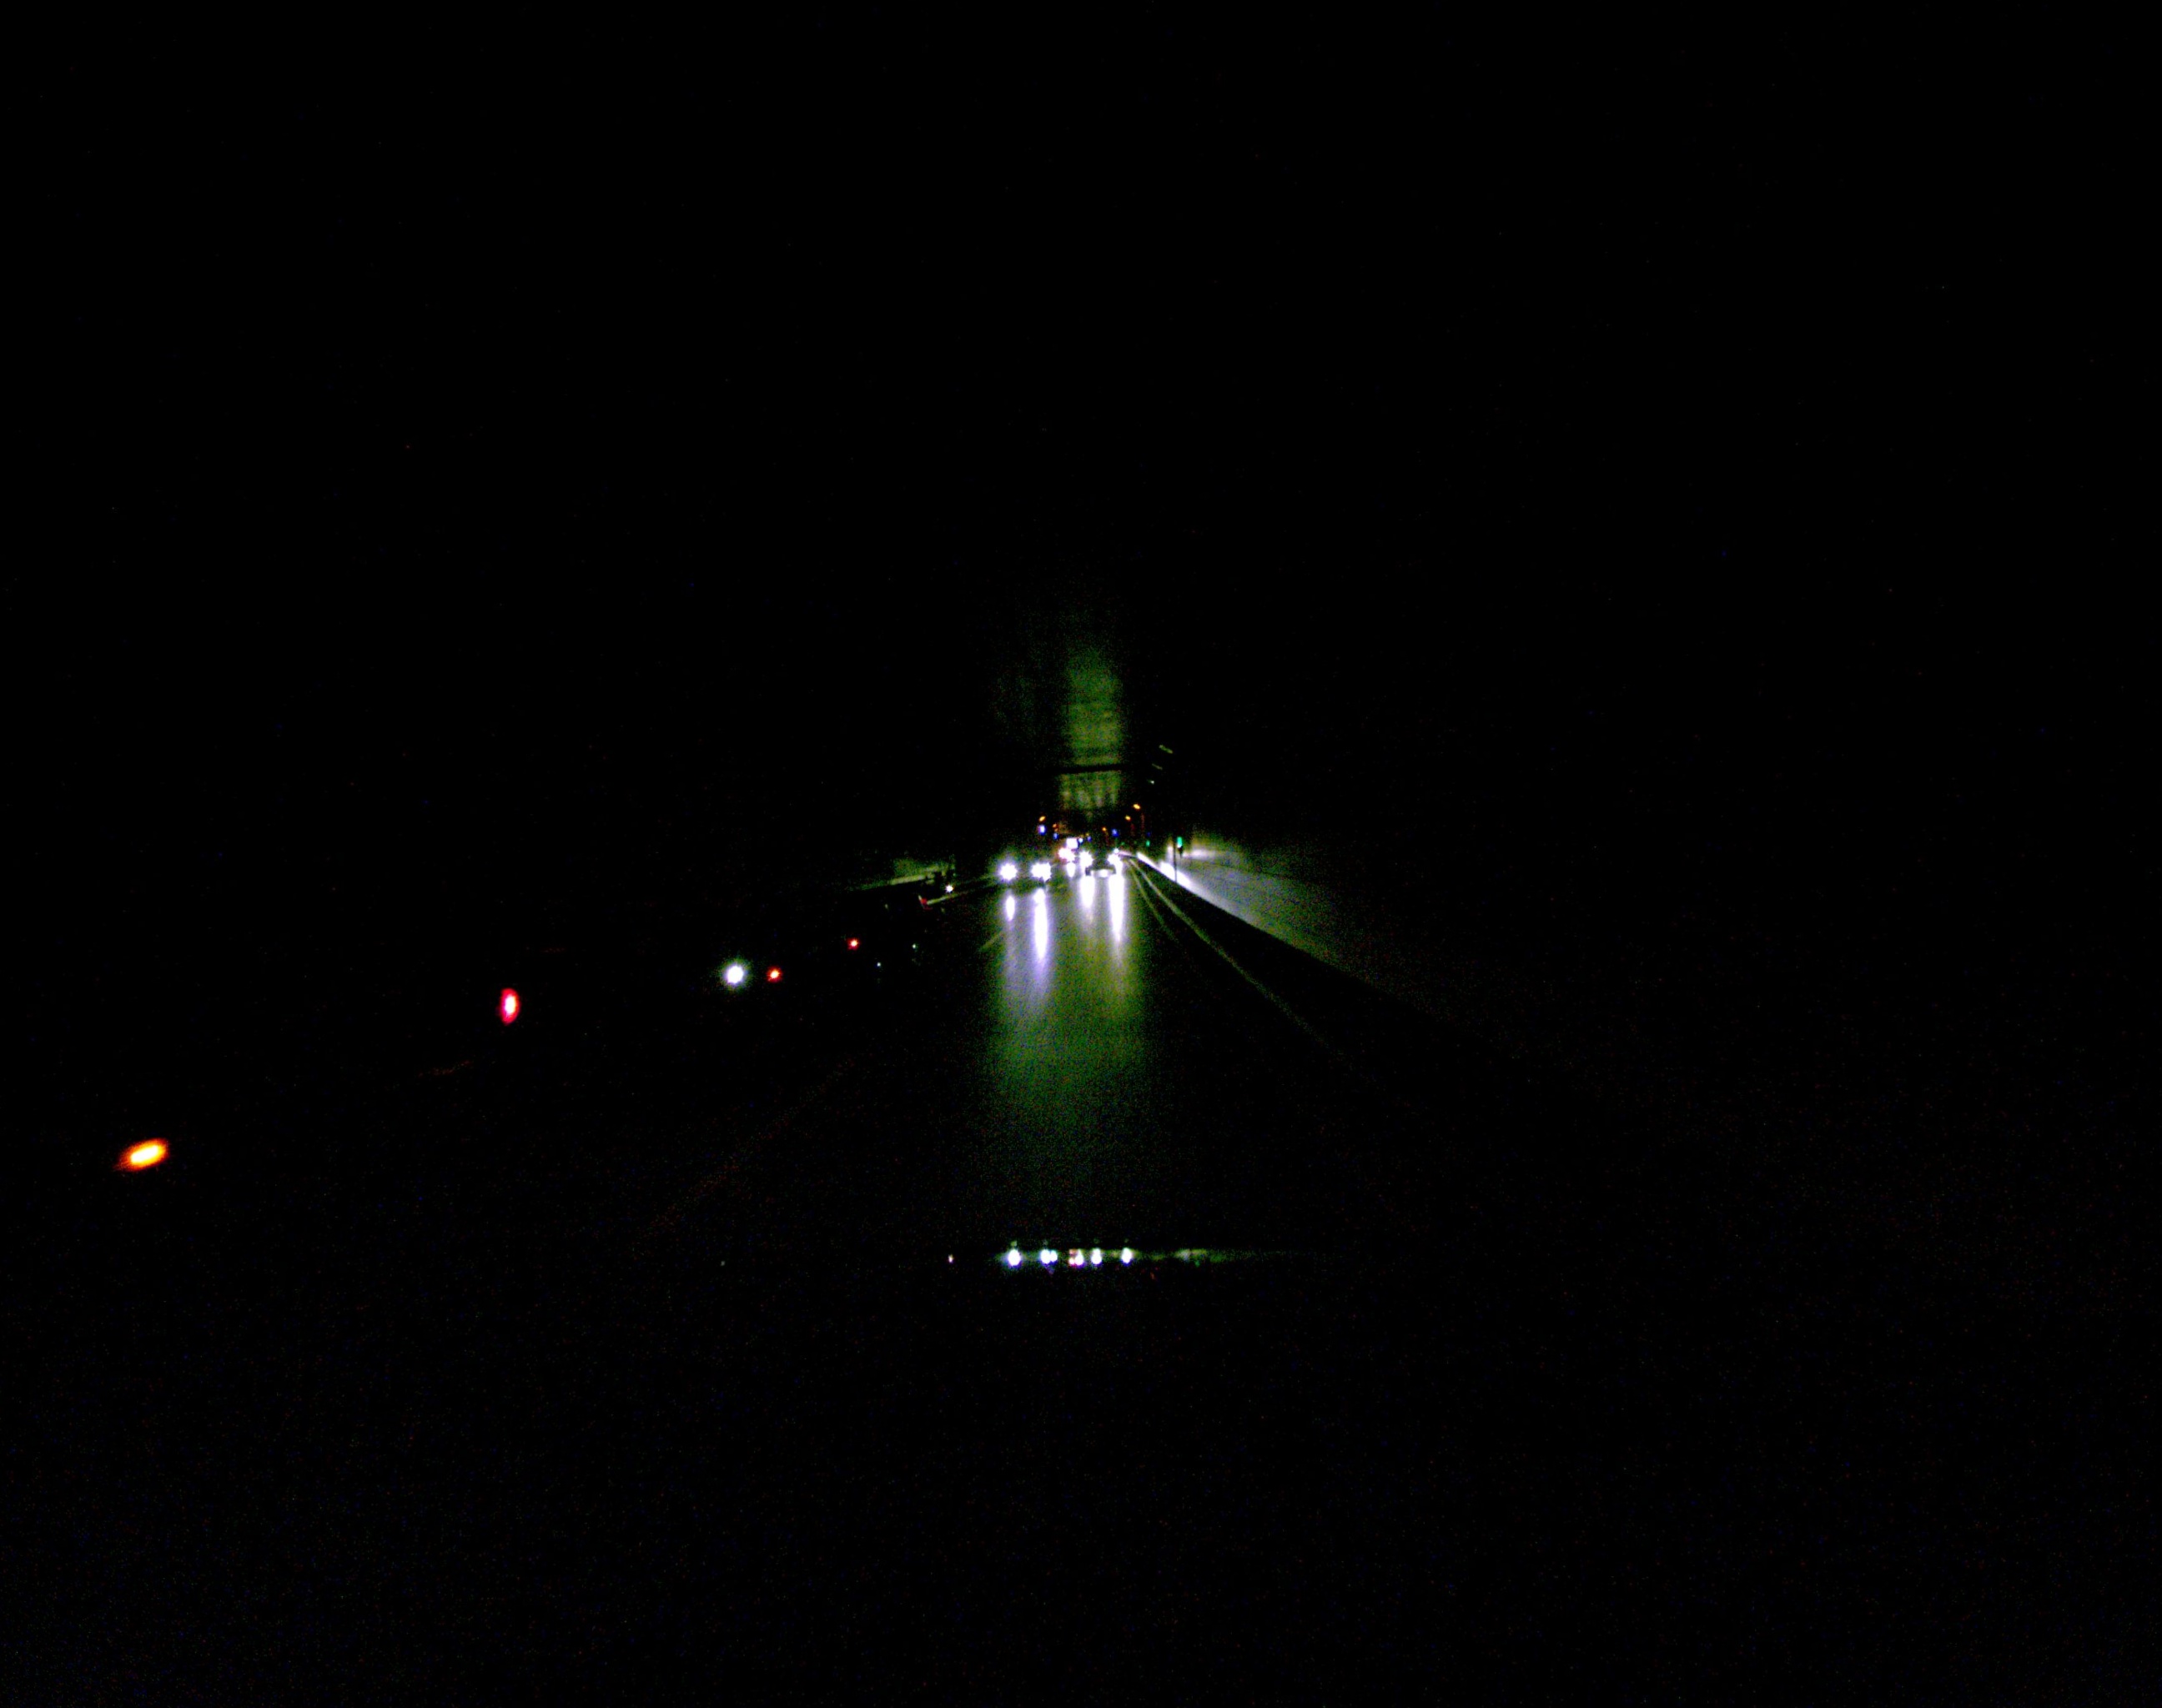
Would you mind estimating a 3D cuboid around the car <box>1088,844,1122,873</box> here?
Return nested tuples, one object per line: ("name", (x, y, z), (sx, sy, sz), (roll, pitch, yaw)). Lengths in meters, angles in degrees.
("car", (1.395, 0.239, 43.644), (1.820, 1.589, 4.000), (-1, 1, 2))

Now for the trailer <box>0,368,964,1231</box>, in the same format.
("trailer", (-3.484, -0.243, 7.958), (2.882, 3.836, 8.947), (-2, 0, 1))

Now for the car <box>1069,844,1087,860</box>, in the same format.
("car", (-0.323, -0.231, 82.090), (1.735, 1.565, 3.999), (-4, 0, -1))

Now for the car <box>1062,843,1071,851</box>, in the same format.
("car", (-3.509, -1.653, 182.506), (1.998, 1.674, 4.000), (-3, 1, 2))

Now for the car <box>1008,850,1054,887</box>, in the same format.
("car", (-2.164, 0.594, 33.747), (1.735, 1.395, 3.798), (-3, 1, 0))

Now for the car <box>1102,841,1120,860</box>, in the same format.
("car", (3.078, -0.412, 77.595), (1.714, 1.729, 3.999), (-3, 2, 2))

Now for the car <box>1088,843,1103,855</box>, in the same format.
("car", (2.132, -0.788, 111.074), (1.998, 1.576, 4.651), (-3, 1, 1))
